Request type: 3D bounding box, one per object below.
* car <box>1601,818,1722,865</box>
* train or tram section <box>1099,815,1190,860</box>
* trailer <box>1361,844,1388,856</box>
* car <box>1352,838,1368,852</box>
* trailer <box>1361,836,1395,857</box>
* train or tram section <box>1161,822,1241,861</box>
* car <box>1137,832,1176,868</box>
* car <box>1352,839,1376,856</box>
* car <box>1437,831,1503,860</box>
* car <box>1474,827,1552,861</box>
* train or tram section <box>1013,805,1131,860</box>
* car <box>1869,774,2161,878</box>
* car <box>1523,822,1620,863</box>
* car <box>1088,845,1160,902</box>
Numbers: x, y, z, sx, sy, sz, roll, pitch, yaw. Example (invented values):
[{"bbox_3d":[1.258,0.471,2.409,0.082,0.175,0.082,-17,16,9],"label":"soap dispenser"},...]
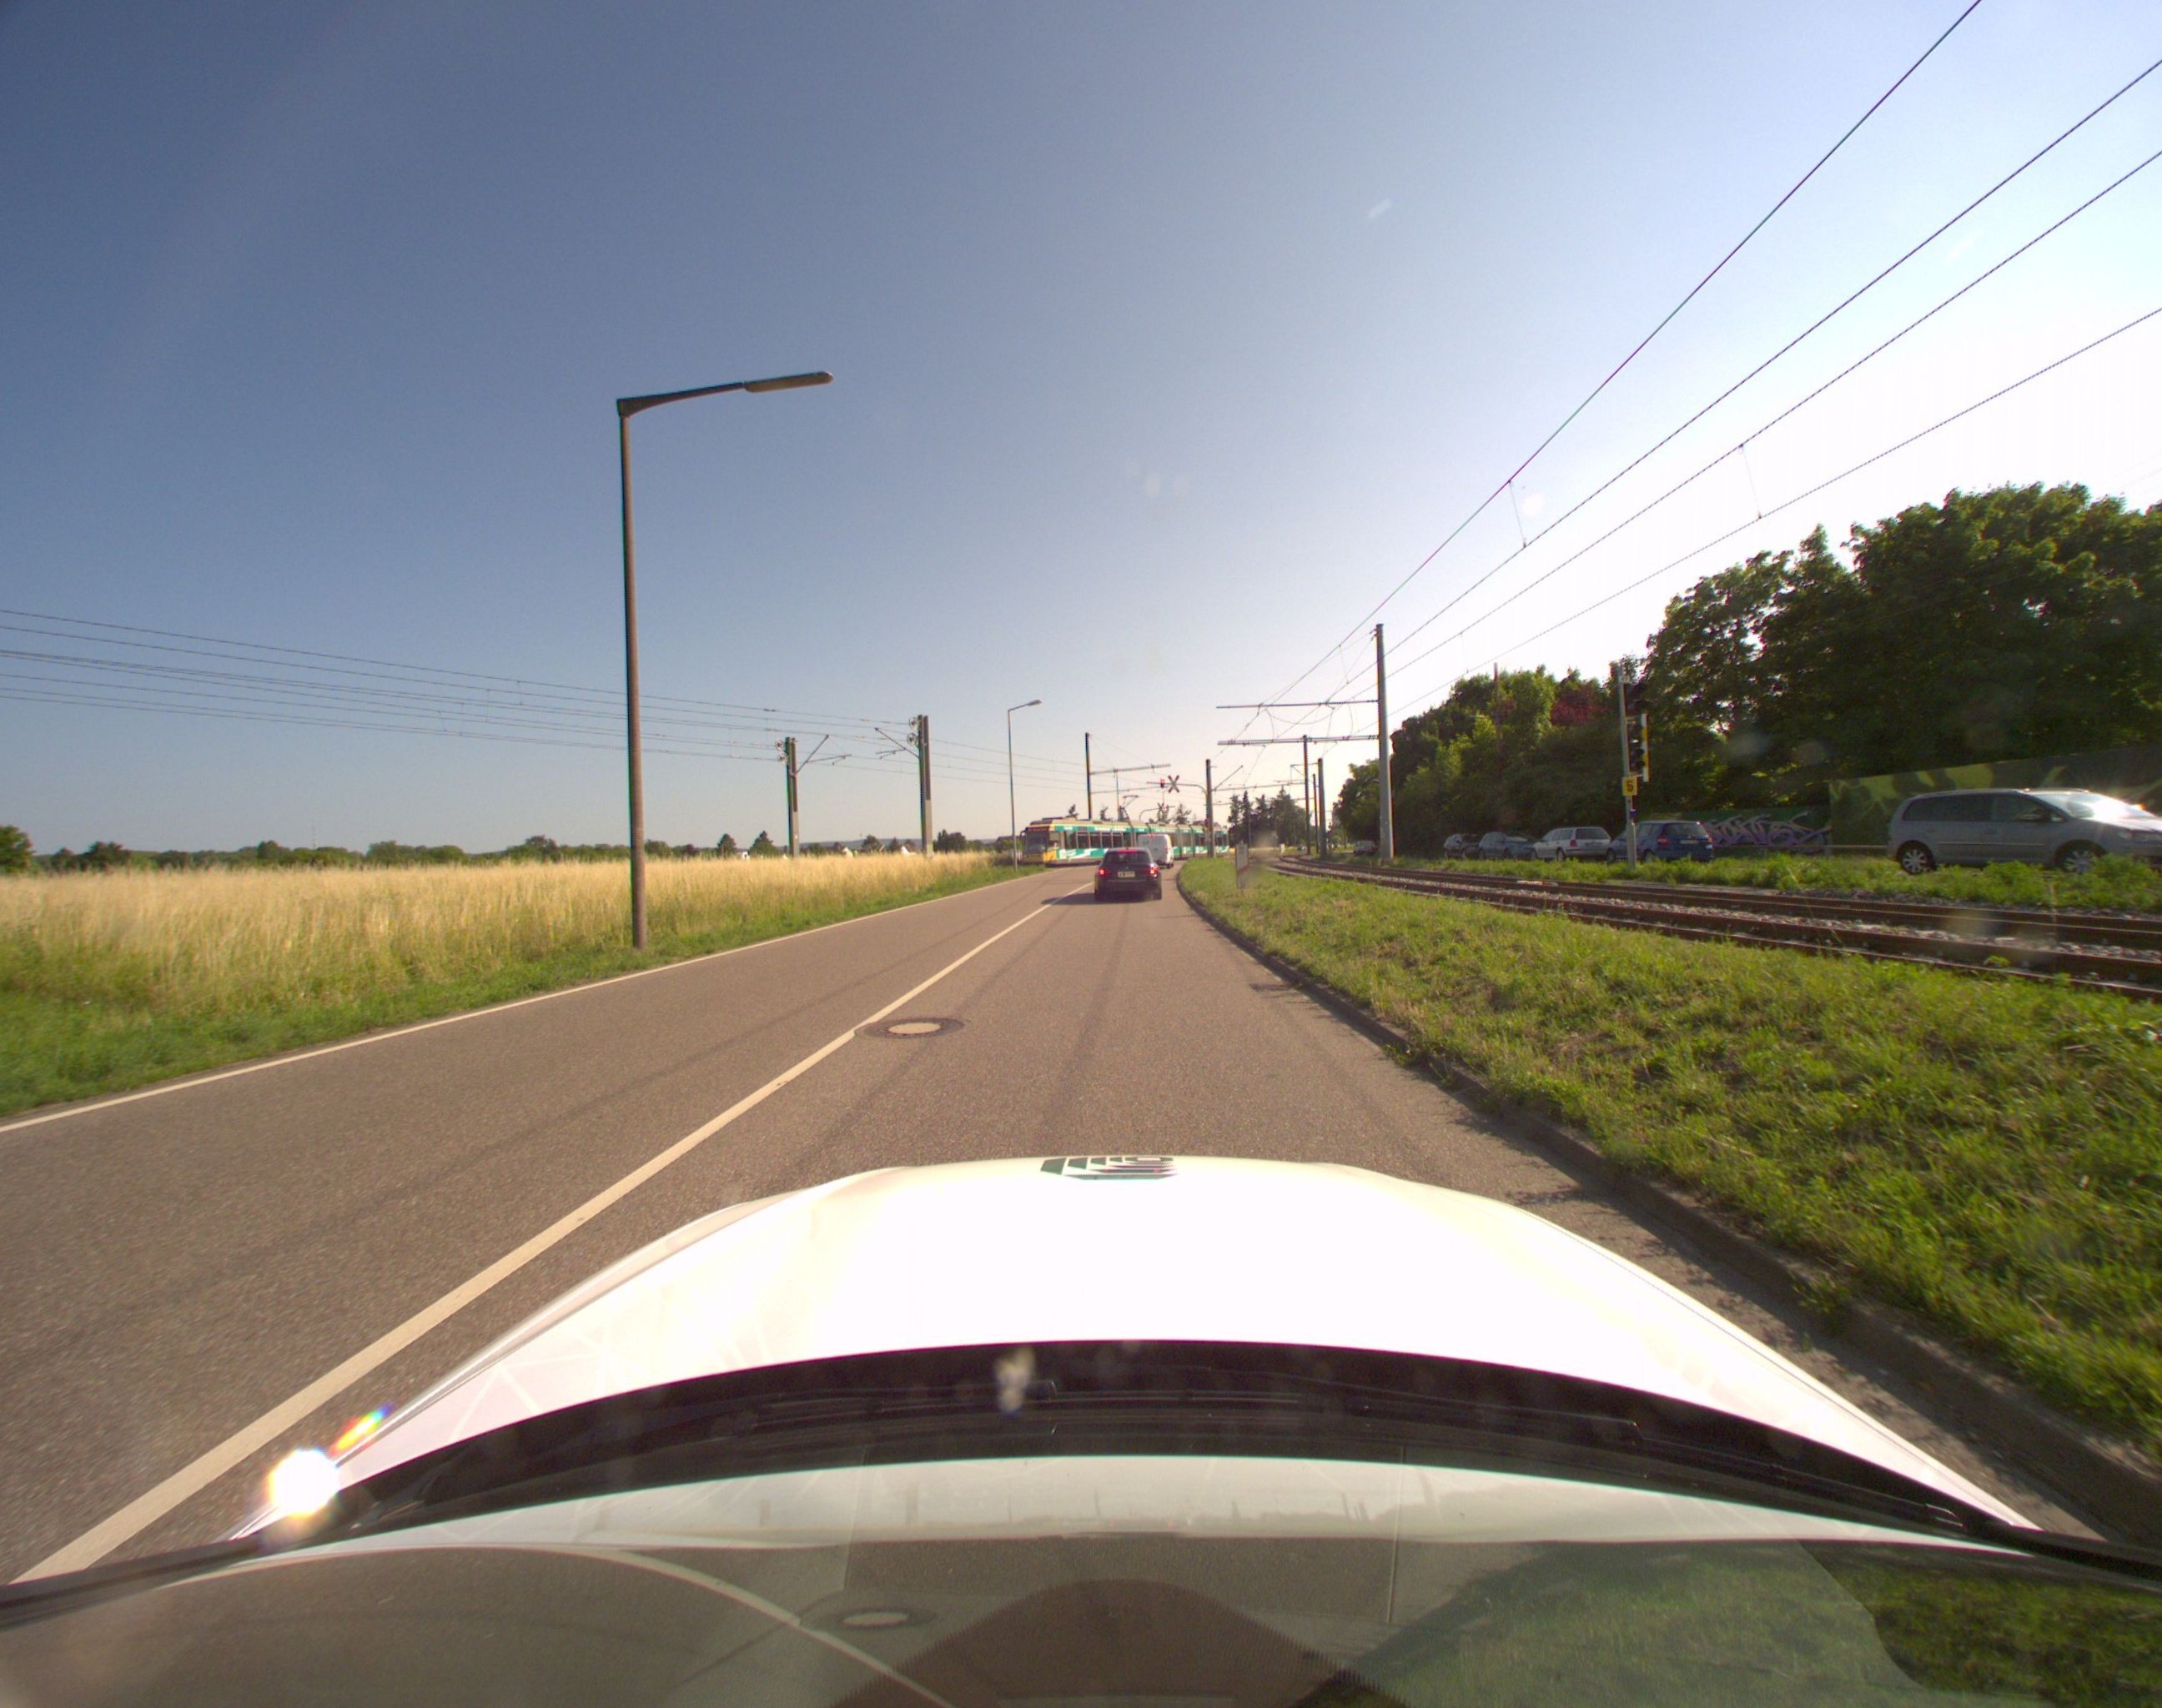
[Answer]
[{"bbox_3d":[18.927,-0.409,26.756,1.668,1.430,3.921,0,1,9],"label":"car"},{"bbox_3d":[5.746,-1.258,70.543,2.889,3.454,12.239,-1,-1,29],"label":"train or tram section"},{"bbox_3d":[24.272,-0.301,67.449,1.719,0.939,3.742,1,1,14],"label":"trailer"},{"bbox_3d":[40.669,-1.262,118.761,1.976,2.004,5.094,1,1,22],"label":"car"},{"bbox_3d":[23.120,-0.566,63.547,2.012,1.596,4.275,0,0,13],"label":"trailer"},{"bbox_3d":[12.333,-1.085,82.140,2.879,3.569,14.348,-1,-1,30],"label":"train or tram section"},{"bbox_3d":[4.516,-0.261,48.130,1.846,1.988,5.123,-1,0,10],"label":"car"},{"bbox_3d":[25.210,-0.604,72.603,1.686,1.456,4.901,1,1,16],"label":"car"},{"bbox_3d":[20.241,-0.426,42.574,1.615,1.410,4.528,-1,0,5],"label":"car"},{"bbox_3d":[19.771,-0.443,37.446,1.479,1.401,4.152,-2,0,2],"label":"car"},{"bbox_3d":[-0.299,-1.377,59.854,2.922,3.485,12.239,-1,-1,29],"label":"train or tram section"},{"bbox_3d":[17.302,-0.486,14.850,1.517,1.610,4.484,-3,0,0],"label":"car"},{"bbox_3d":[19.569,-0.442,32.722,1.700,1.465,4.399,-2,0,7],"label":"car"},{"bbox_3d":[1.339,0.484,23.914,1.860,1.452,4.750,-1,1,5],"label":"car"}]
